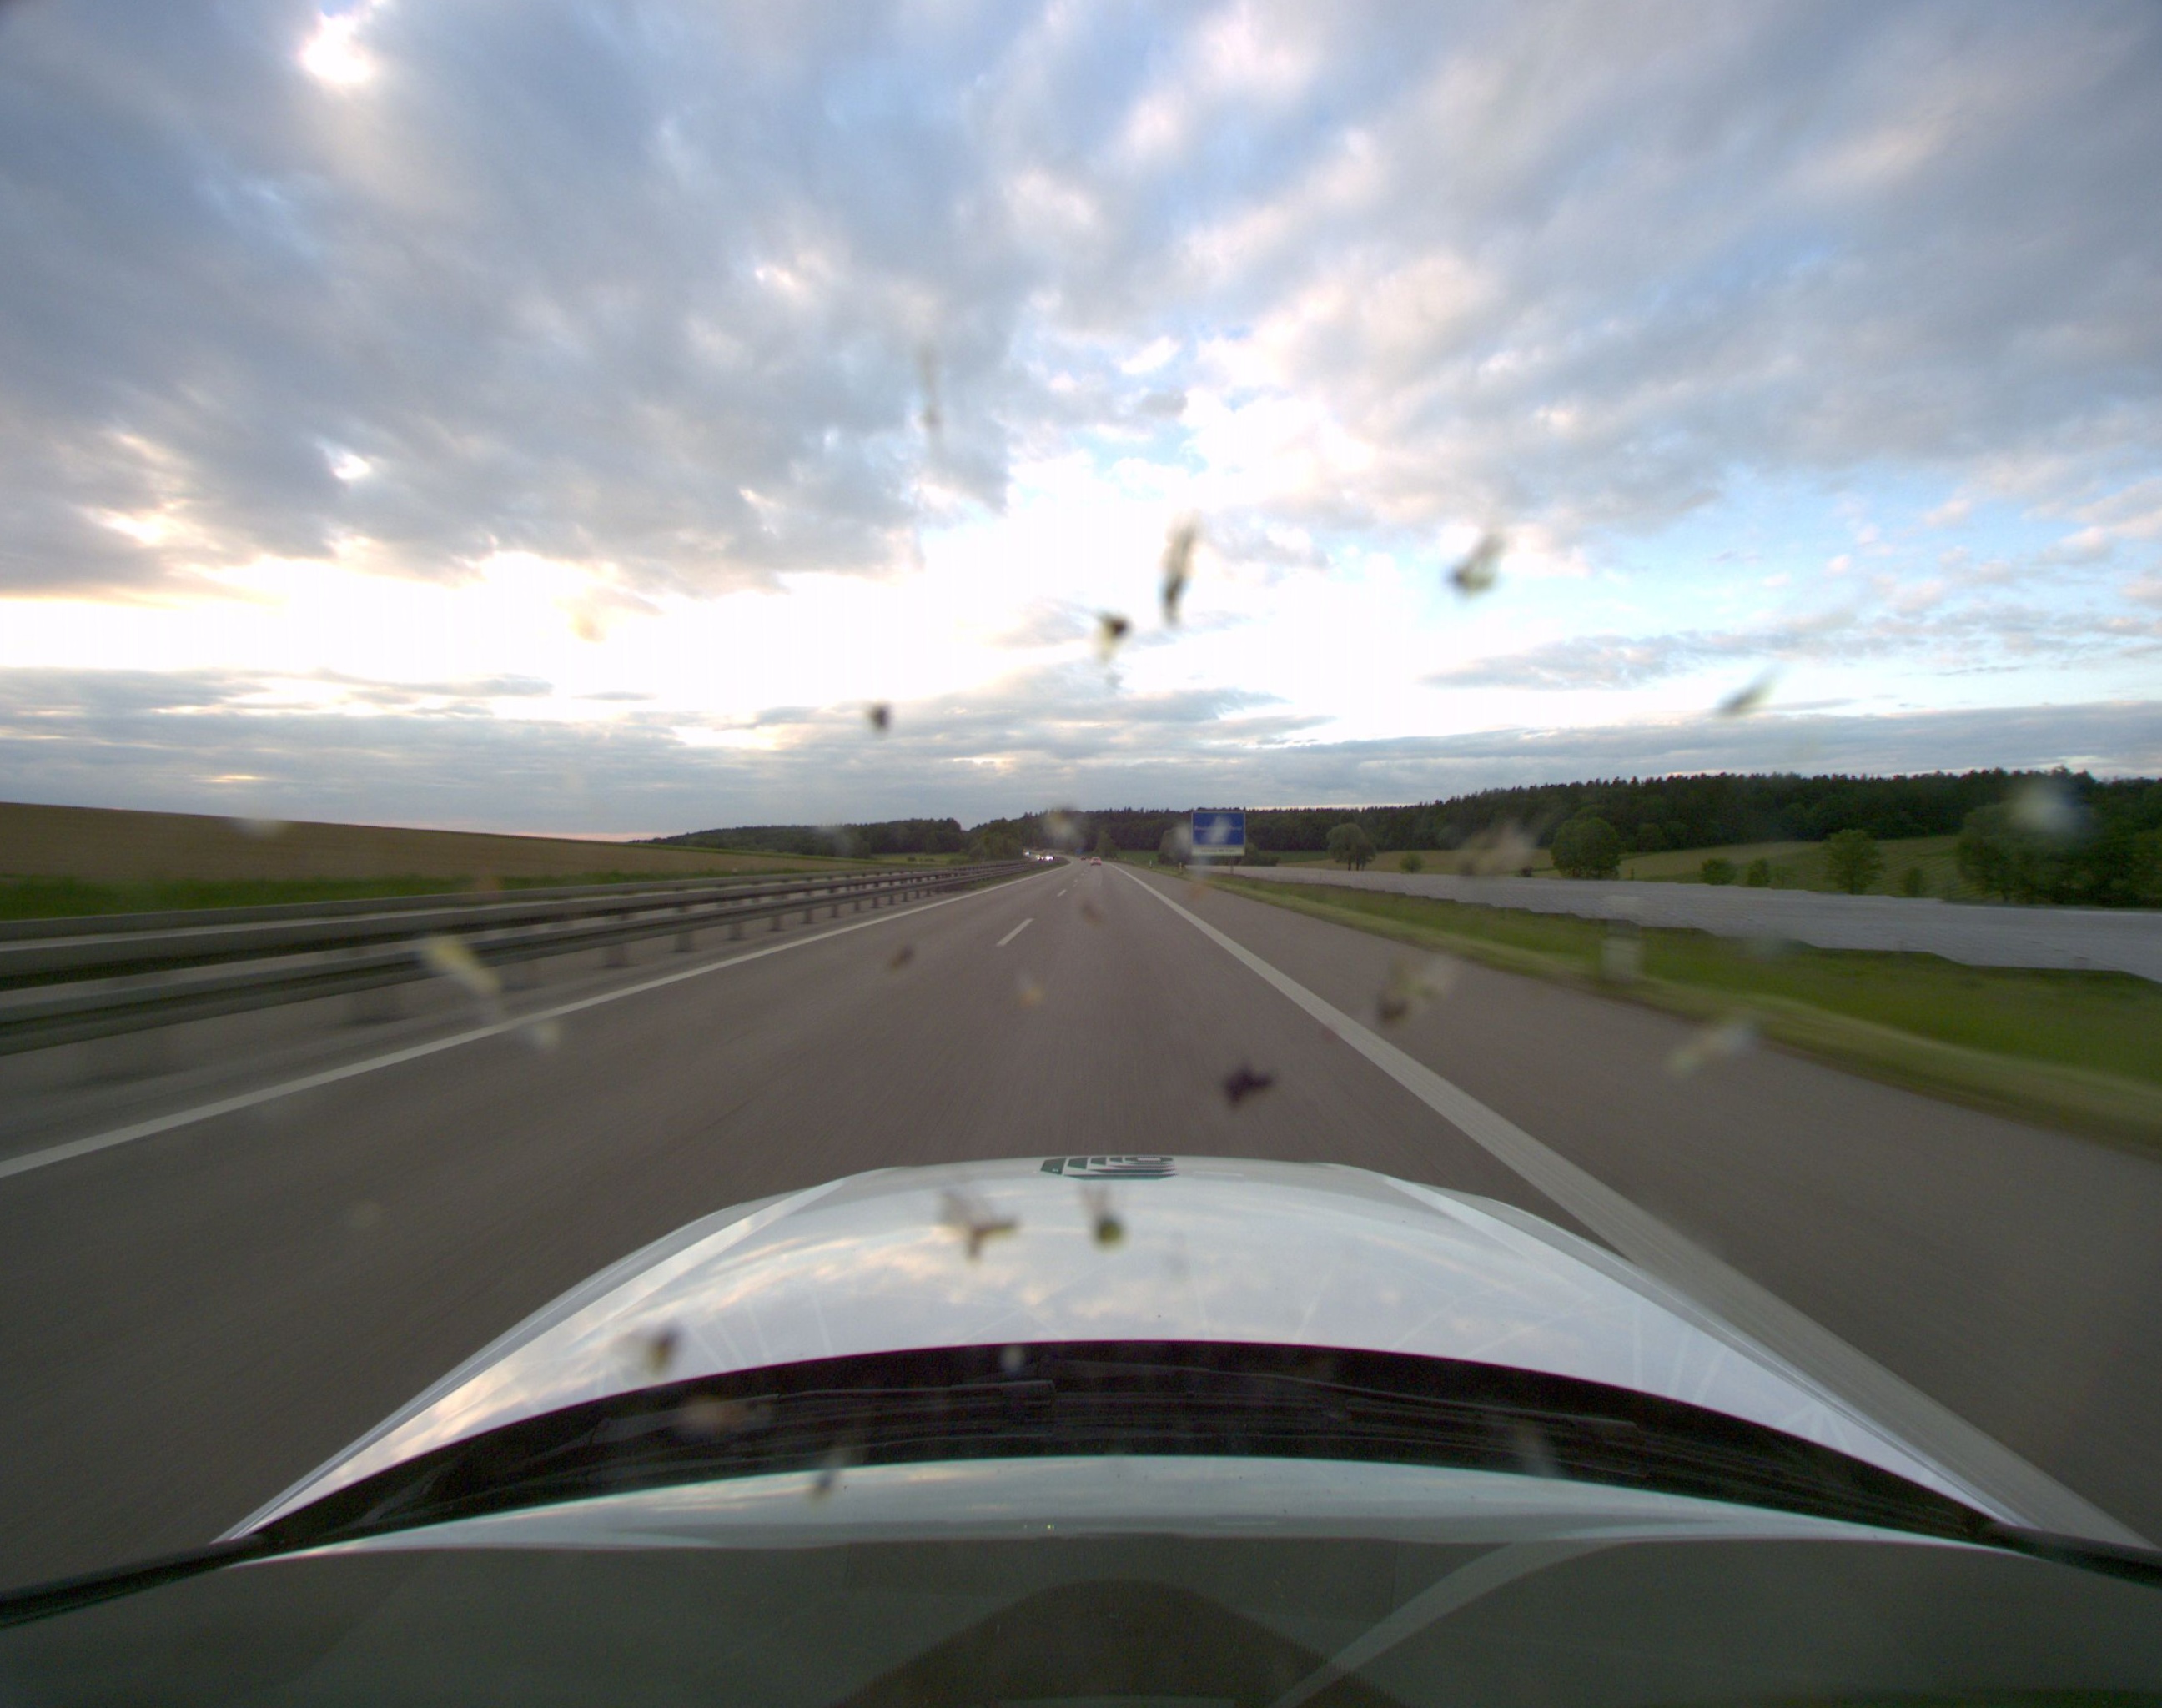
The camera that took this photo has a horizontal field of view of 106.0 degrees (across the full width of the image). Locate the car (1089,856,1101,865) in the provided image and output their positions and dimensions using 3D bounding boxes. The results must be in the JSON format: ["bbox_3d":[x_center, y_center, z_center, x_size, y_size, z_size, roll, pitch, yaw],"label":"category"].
[{"bbox_3d":[2.454,1.081,145.169,1.946,1.531,4.079,2,0,-1],"label":"car"}]
